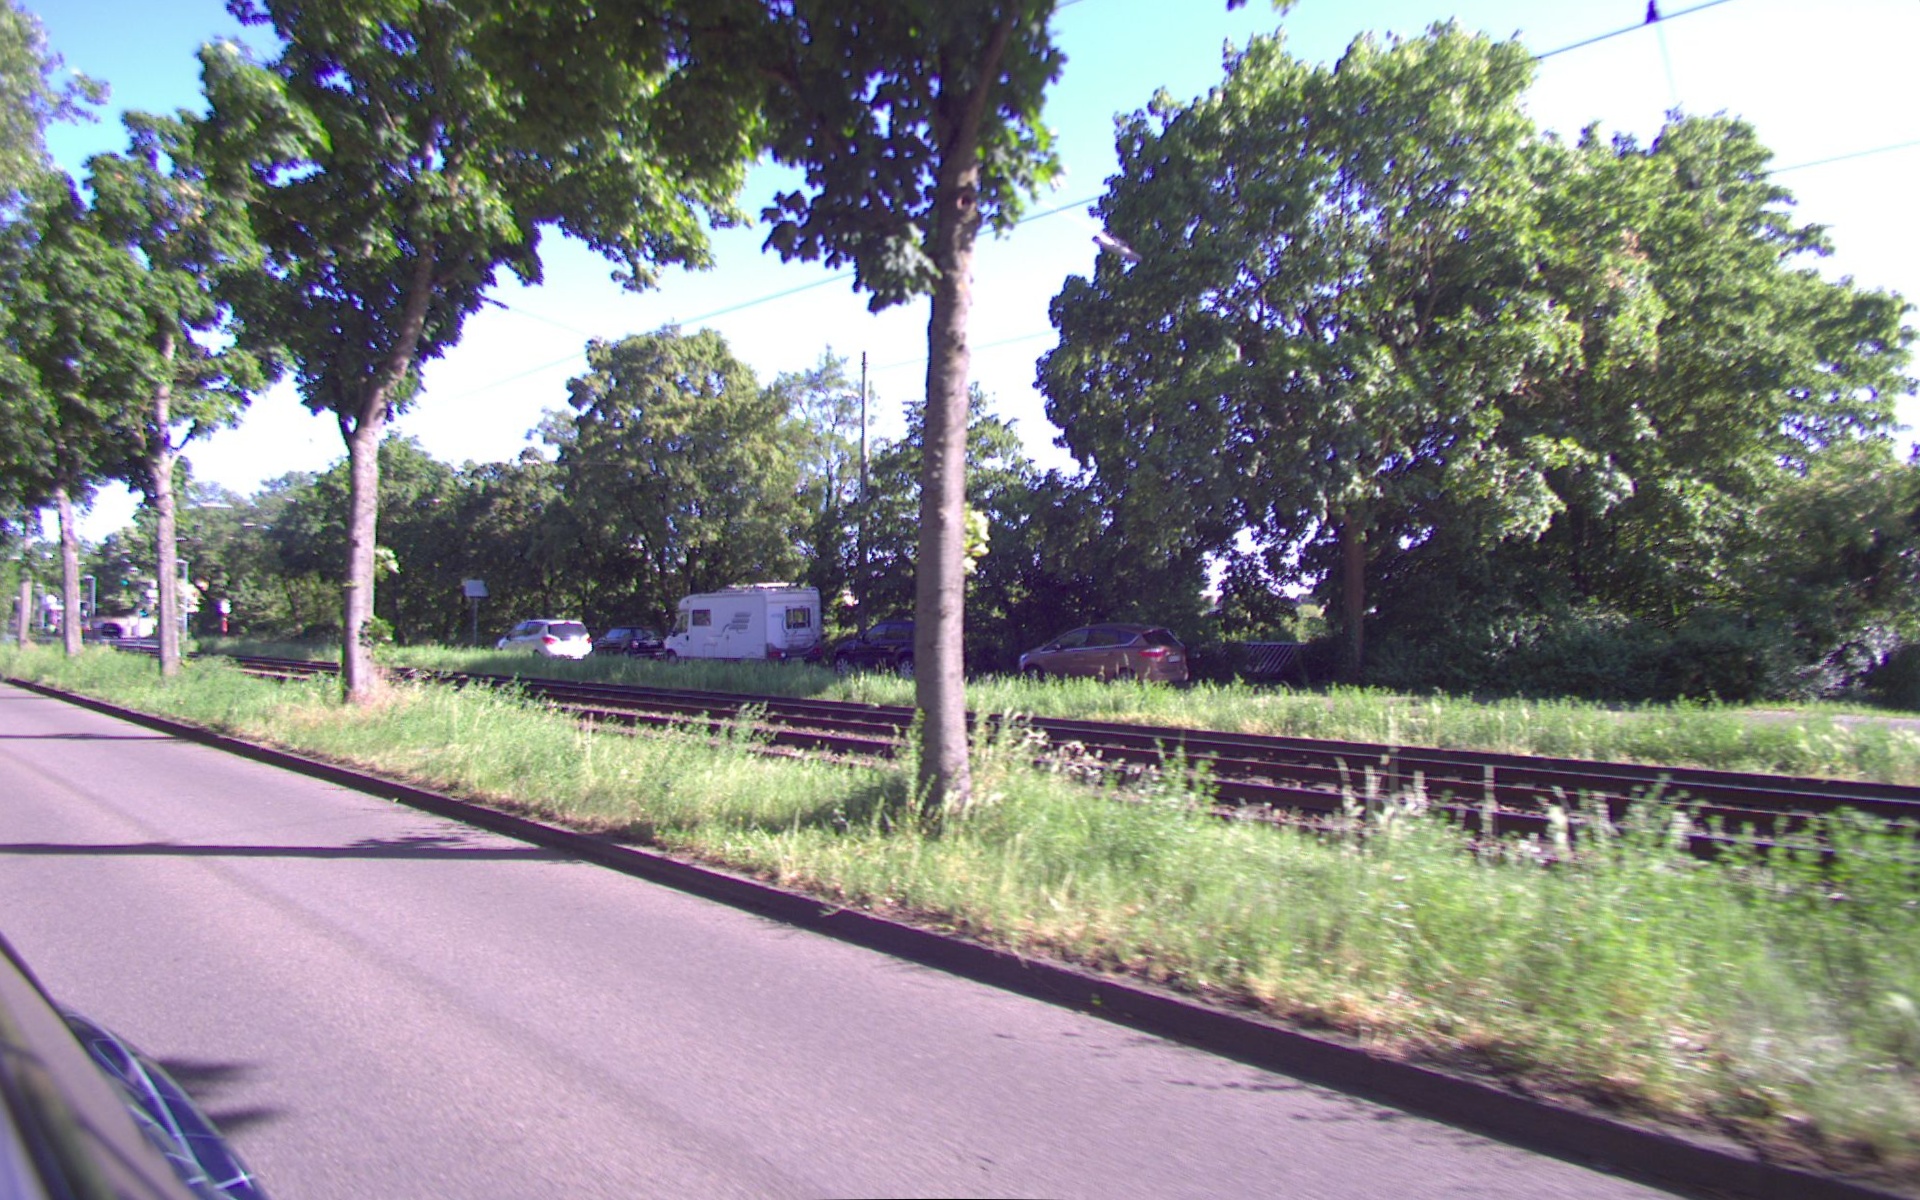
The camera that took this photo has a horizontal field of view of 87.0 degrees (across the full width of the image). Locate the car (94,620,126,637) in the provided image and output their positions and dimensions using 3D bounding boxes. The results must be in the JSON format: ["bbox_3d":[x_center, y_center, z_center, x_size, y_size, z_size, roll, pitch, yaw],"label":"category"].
[{"bbox_3d":[-80.427,2.703,95.755,4.591,1.506,1.619,-1,-4,42],"label":"car"}]

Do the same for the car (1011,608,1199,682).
[{"bbox_3d":[3.360,0.991,23.991,4.248,1.596,1.656,-1,0,43],"label":"car"}]

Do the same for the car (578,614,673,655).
[{"bbox_3d":[-12.777,1.263,38.563,3.999,1.445,1.692,-1,0,42],"label":"car"}]

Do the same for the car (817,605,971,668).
[{"bbox_3d":[-1.939,0.980,28.645,4.530,1.635,1.606,-1,0,41],"label":"car"}]

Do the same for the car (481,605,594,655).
[{"bbox_3d":[-14.053,0.944,33.548,4.440,1.539,1.709,-1,0,42],"label":"car"}]

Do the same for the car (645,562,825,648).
[{"bbox_3d":[-7.587,0.222,33.515,6.795,2.600,2.202,-2,-1,41],"label":"car"}]
